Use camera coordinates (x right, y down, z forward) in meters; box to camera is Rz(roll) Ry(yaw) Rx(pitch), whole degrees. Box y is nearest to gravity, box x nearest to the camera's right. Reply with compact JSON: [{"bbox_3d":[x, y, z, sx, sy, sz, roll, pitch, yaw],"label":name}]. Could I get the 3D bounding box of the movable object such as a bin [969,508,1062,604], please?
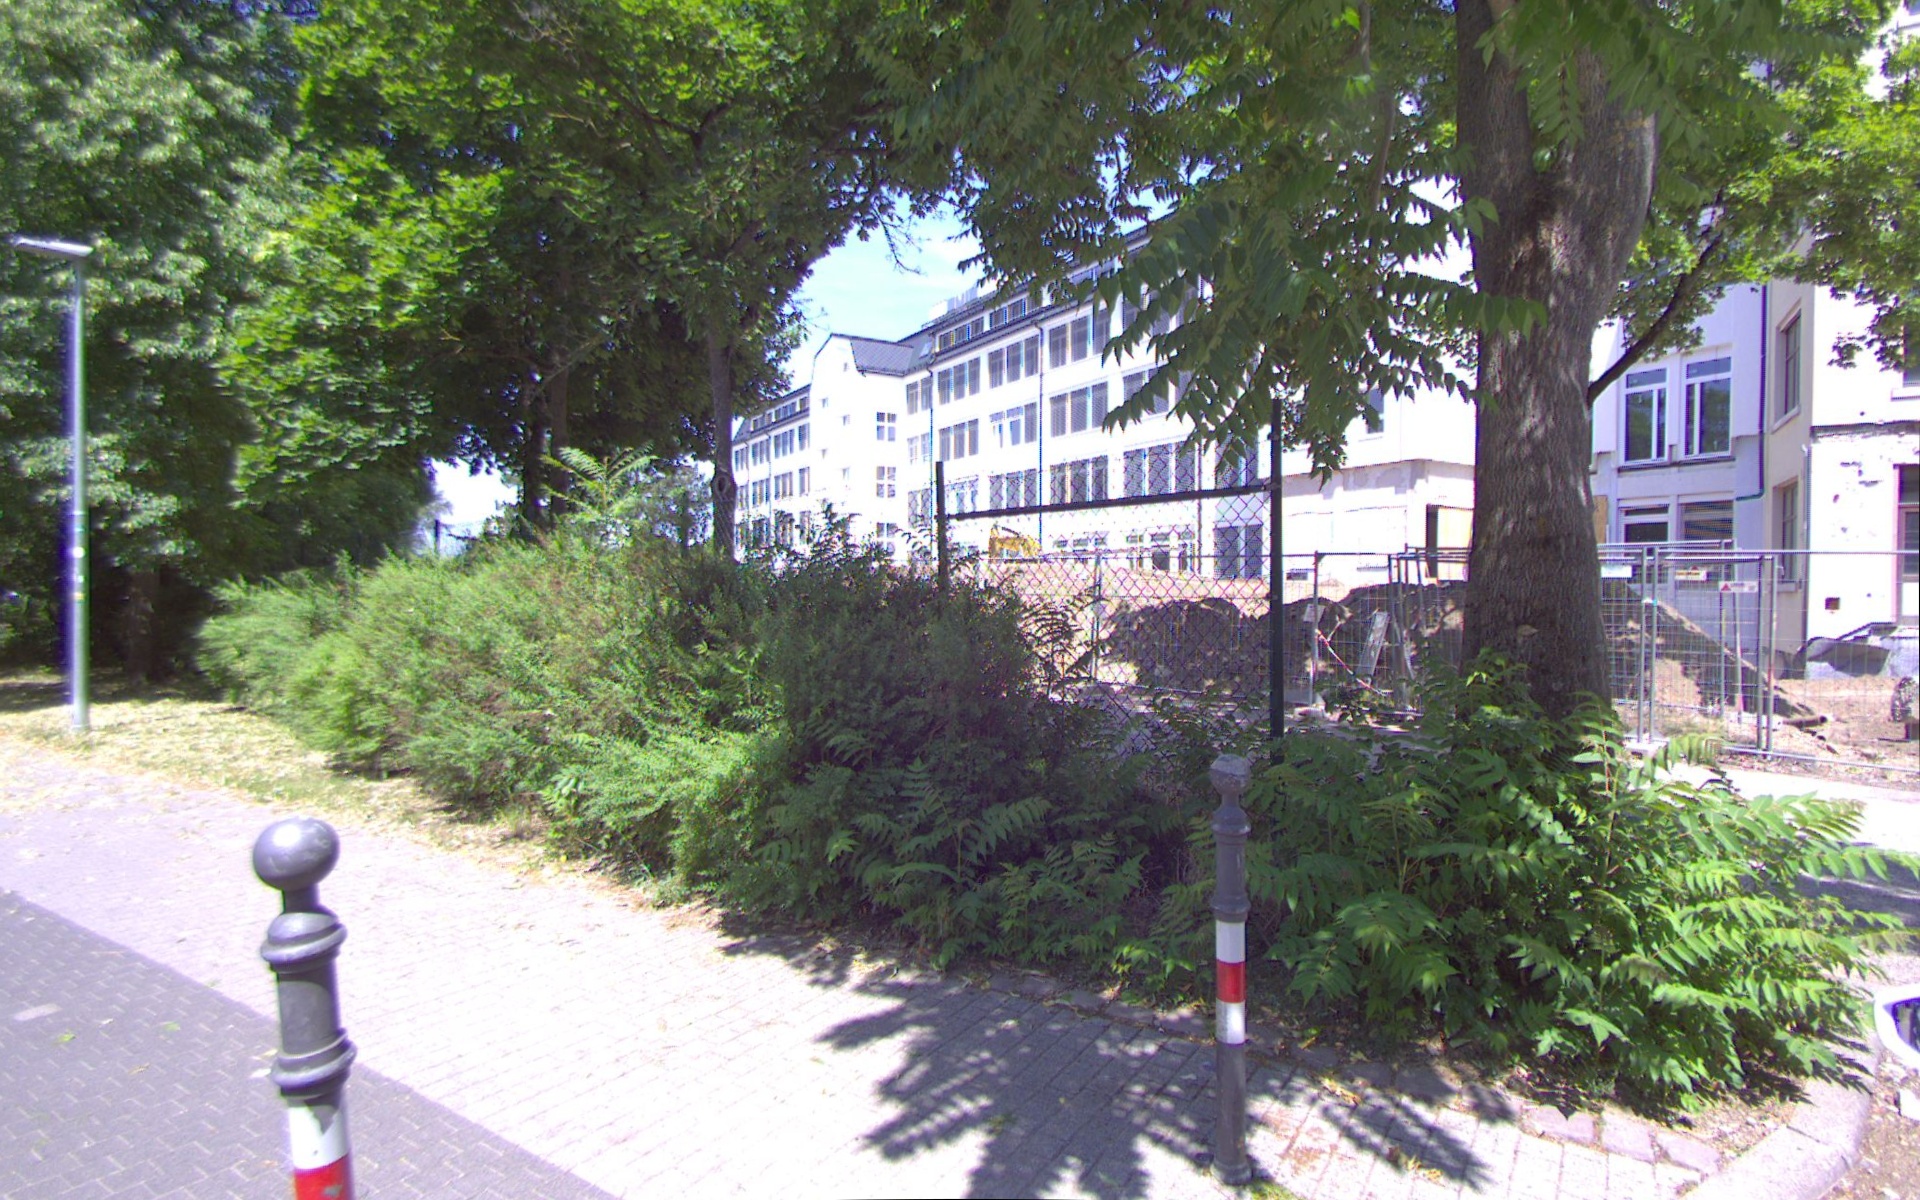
[{"bbox_3d":[2.638,-2.030,49.541,1.974,4.430,5.684,0,0,-27],"label":"movable object such as a bin"}]
